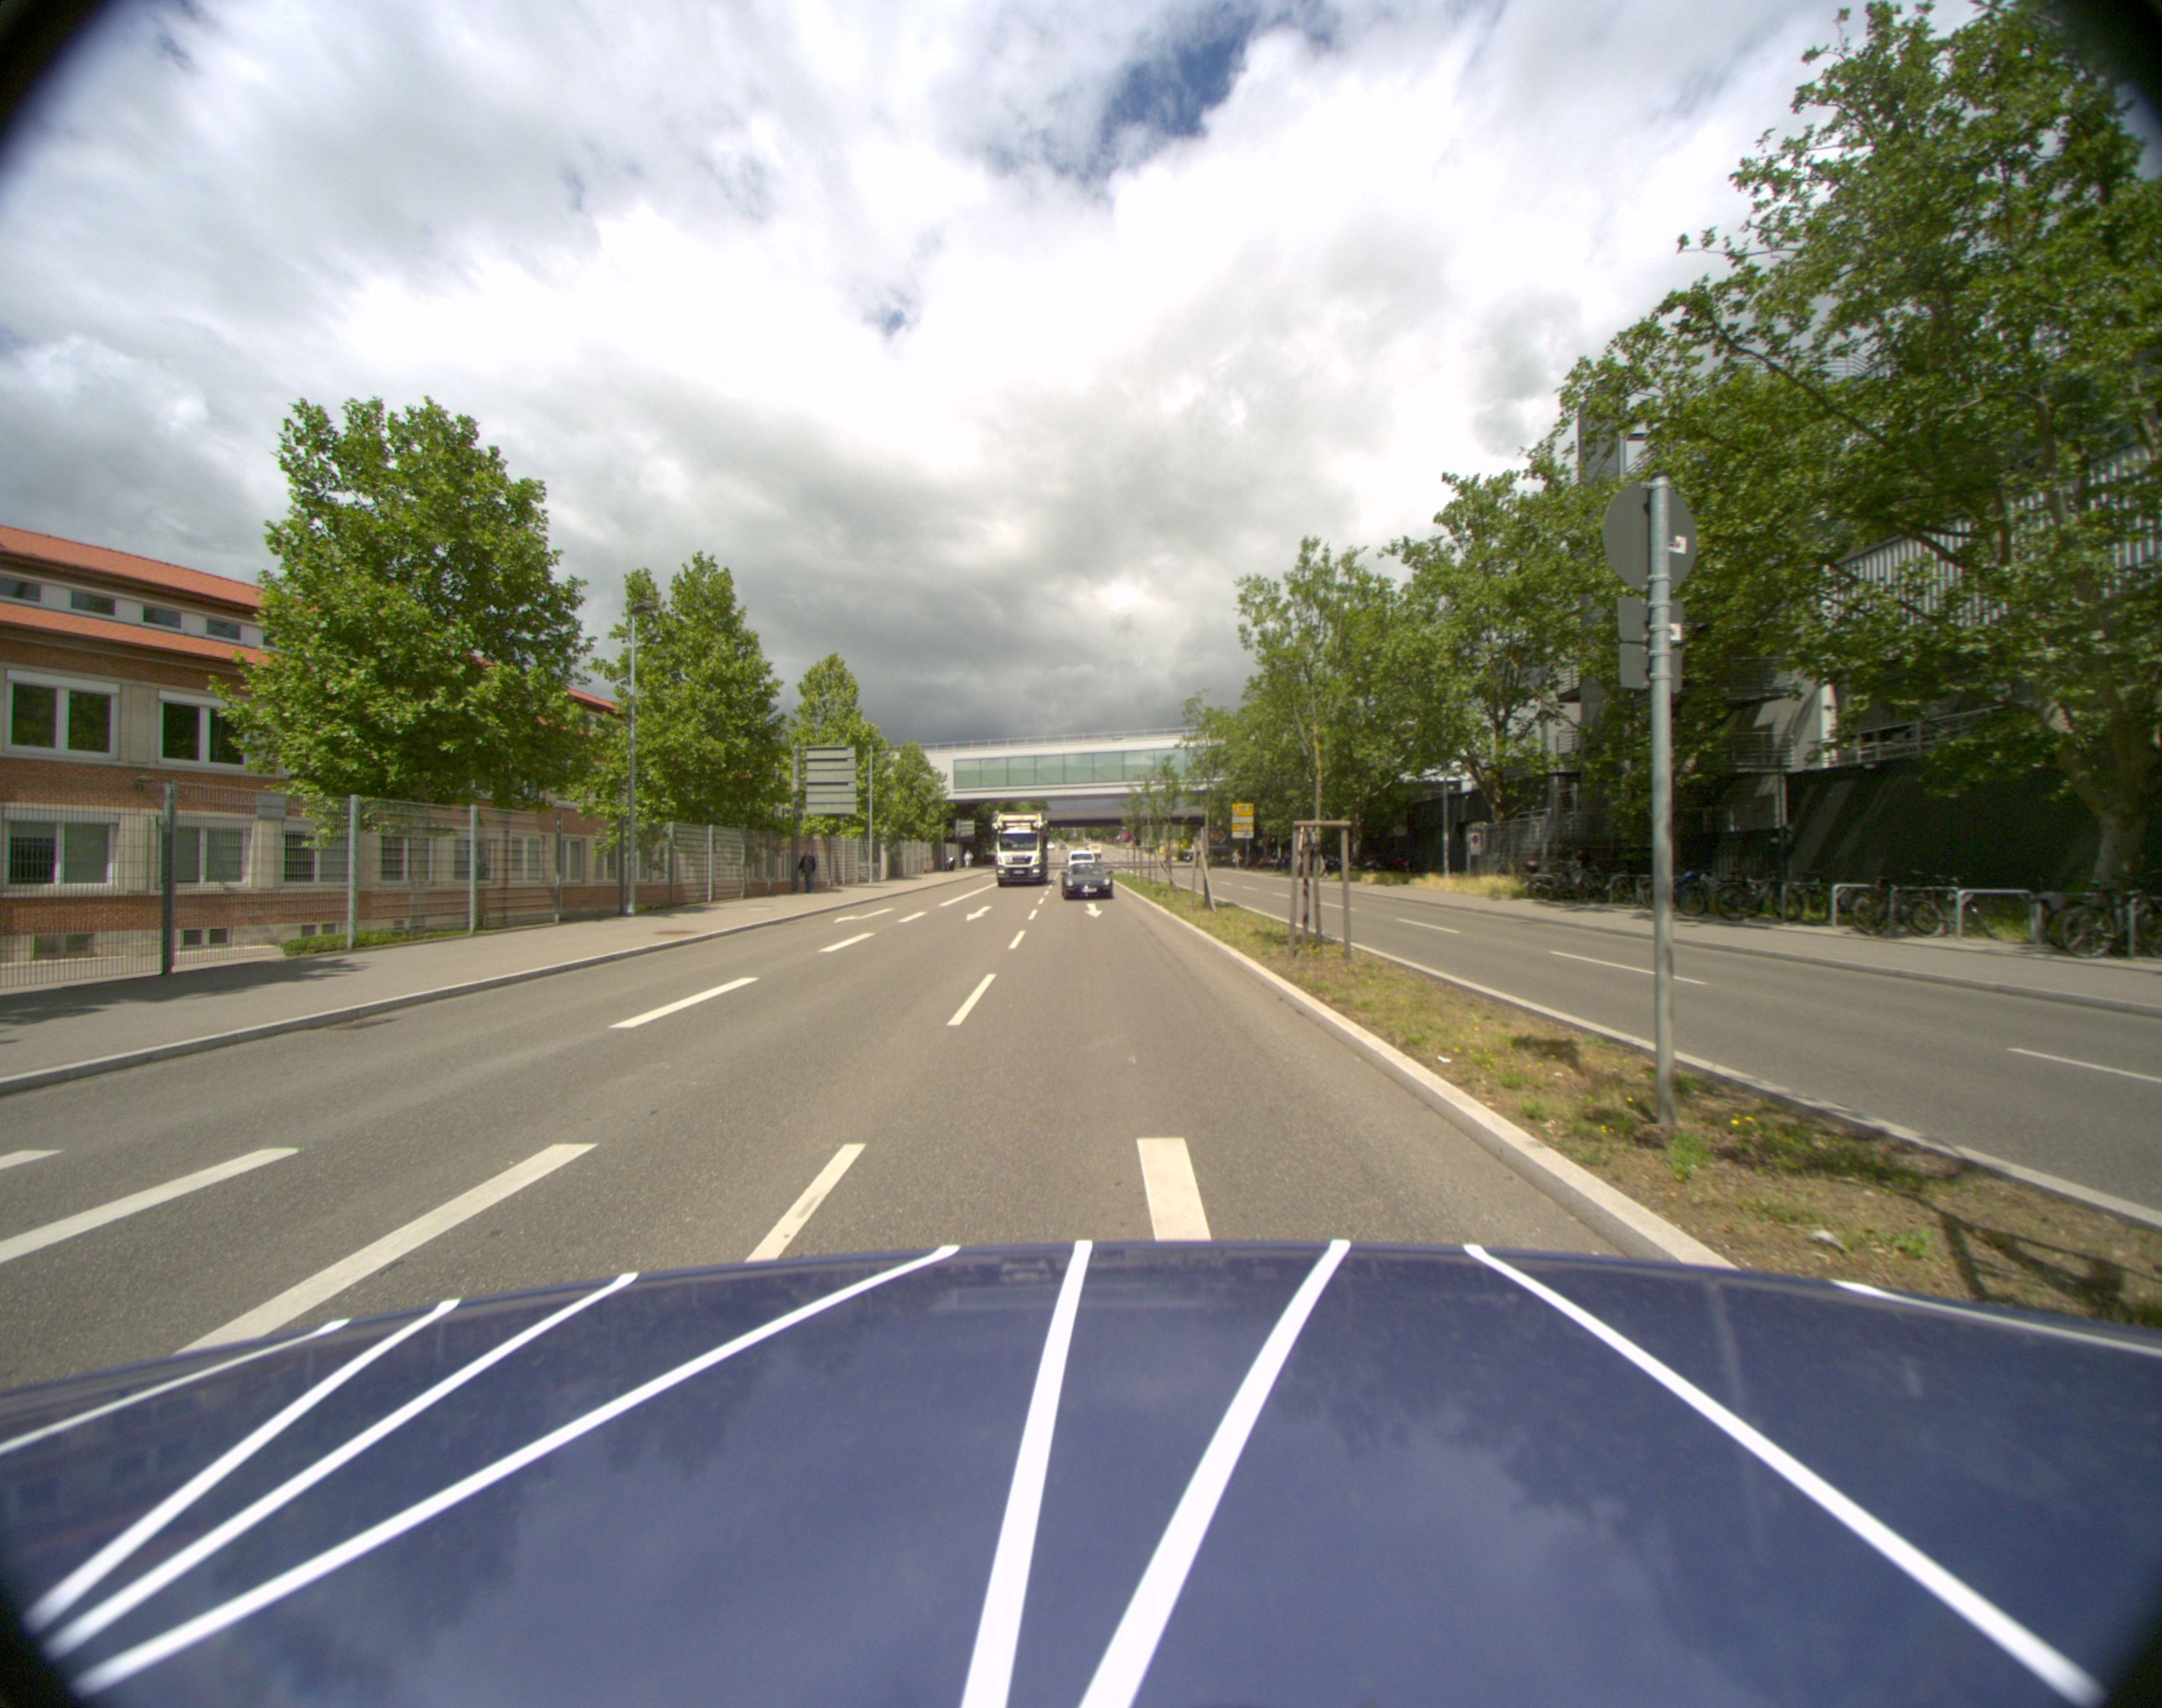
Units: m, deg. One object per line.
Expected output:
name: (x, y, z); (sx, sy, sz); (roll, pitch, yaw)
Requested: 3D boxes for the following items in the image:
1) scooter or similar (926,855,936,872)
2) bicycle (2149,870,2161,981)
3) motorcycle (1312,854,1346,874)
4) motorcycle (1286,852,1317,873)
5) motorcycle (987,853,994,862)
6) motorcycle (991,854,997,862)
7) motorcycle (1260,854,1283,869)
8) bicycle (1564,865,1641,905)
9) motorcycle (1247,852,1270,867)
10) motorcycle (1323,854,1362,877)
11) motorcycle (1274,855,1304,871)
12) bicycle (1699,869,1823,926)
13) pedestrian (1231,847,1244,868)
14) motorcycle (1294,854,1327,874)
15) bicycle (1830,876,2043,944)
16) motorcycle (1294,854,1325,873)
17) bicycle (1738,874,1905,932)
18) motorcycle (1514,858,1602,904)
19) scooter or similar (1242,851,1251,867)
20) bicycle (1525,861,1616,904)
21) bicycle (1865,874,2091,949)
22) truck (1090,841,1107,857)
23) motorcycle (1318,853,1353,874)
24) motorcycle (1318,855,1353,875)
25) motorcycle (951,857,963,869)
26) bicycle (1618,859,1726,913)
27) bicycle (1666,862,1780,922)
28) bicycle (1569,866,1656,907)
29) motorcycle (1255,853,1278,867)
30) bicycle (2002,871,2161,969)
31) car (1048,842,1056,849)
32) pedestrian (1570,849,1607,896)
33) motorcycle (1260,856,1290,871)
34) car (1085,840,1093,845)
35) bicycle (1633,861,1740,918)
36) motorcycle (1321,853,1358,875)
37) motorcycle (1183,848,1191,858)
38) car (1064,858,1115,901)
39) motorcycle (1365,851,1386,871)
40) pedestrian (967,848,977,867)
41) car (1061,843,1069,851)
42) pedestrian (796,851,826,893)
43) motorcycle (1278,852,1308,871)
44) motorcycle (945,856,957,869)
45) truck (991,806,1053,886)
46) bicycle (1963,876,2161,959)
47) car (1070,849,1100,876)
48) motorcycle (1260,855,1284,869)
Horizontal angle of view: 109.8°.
scooter or similar: (-12.189, 0.770, 61.785); (0.492, 1.287, 1.336); (0, 1, -1)
bicycle: (14.319, 0.852, 9.148); (2.172, 1.356, 0.490); (-1, 1, 2)
motorcycle: (15.656, 0.612, 47.918); (1.882, 1.172, 0.698); (-3, -1, 3)
motorcycle: (15.081, 0.567, 51.894); (1.934, 1.336, 0.866); (-3, -1, 20)
motorcycle: (-12.197, 0.483, 101.985); (0.679, 1.148, 2.112); (0, 1, 0)
motorcycle: (-12.086, 0.548, 105.902); (0.679, 1.076, 2.037); (0, 1, -2)
motorcycle: (15.257, 0.634, 60.999); (1.595, 1.116, 0.776); (-3, -1, 1)
bicycle: (14.748, 0.864, 21.495); (1.929, 1.068, 0.422); (-1, 1, -2)
motorcycle: (14.996, 0.495, 64.313); (1.745, 1.164, 0.777); (-3, -1, 8)
motorcycle: (14.603, 0.645, 42.477); (1.881, 1.166, 0.746); (-3, -1, 9)
motorcycle: (15.227, 0.661, 55.741); (1.933, 1.109, 0.923); (-3, -1, 27)
bicycle: (14.350, 0.898, 16.064); (1.923, 1.116, 0.806); (-1, 1, -2)
pedestrian: (12.383, 0.306, 60.078); (0.769, 1.603, 0.813); (-3, 1, -1)
motorcycle: (14.845, 0.662, 49.218); (1.881, 1.172, 0.815); (-3, -1, 9)
bicycle: (14.742, 0.950, 13.170); (2.569, 1.089, 0.696); (0, 1, 10)
motorcycle: (15.097, 0.611, 50.330); (1.880, 1.172, 0.816); (-3, -1, 15)
bicycle: (14.774, 0.962, 15.176); (2.844, 1.000, 0.850); (-1, 1, -9)
motorcycle: (14.264, 0.792, 22.772); (2.139, 1.301, 0.806); (-1, 1, -2)
scooter or similar: (13.198, 0.426, 60.549); (0.355, 1.229, 1.479); (-2, 2, -1)
bicycle: (14.304, 0.816, 22.236); (2.139, 1.173, 0.806); (-1, 1, -2)
bicycle: (14.579, 0.932, 12.410); (2.569, 1.151, 0.644); (-1, 1, 10)
truck: (3.089, -0.834, 134.722); (2.486, 2.735, 6.456); (-1, 0, -3)
motorcycle: (15.664, 0.581, 46.713); (1.882, 1.202, 0.655); (-3, -1, 3)
motorcycle: (15.280, 0.643, 45.638); (1.880, 1.078, 0.795); (-3, -1, 15)
motorcycle: (-11.762, 0.817, 72.114); (0.709, 1.058, 2.510); (2, 1, -1)
bicycle: (14.908, 0.786, 19.202); (2.139, 1.275, 0.806); (-1, 1, -2)
bicycle: (14.380, 0.836, 17.052); (1.923, 1.275, 0.806); (-1, 1, -2)
bicycle: (14.696, 0.900, 21.026); (2.086, 1.056, 0.497); (-1, 1, -2)
motorcycle: (15.220, 0.501, 62.332); (1.596, 1.116, 0.775); (-3, -1, -9)
bicycle: (14.219, 0.889, 10.436); (2.410, 1.250, 0.556); (-1, 1, 2)
car: (-8.150, -2.337, 215.122); (1.999, 2.002, 3.999); (-1, 0, -1)
pedestrian: (17.050, 0.608, 25.543); (0.755, 1.543, 0.821); (-1, 1, 10)
motorcycle: (14.685, 0.702, 57.464); (1.939, 1.109, 0.920); (1, 1, -12)
car: (2.247, -3.213, 207.121); (1.998, 1.346, 4.000); (0, 1, 1)
bicycle: (14.346, 0.822, 18.036); (1.923, 1.275, 0.806); (-1, 1, -2)
motorcycle: (15.095, 0.583, 44.389); (1.881, 1.179, 0.730); (-3, 0, 8)
motorcycle: (12.806, -0.110, 91.758); (0.641, 1.191, 2.257); (-3, 1, -1)
car: (0.255, 0.857, 27.706); (1.675, 1.390, 3.999); (-1, 0, -1)
motorcycle: (18.710, 0.460, 48.259); (0.654, 1.202, 1.984); (-3, -1, 4)
pedestrian: (-10.791, 0.329, 75.124); (0.791, 1.877, 1.097); (0, 1, -1)
car: (-4.601, -2.029, 218.062); (1.999, 2.002, 3.999); (-1, 0, -1)
pedestrian: (-11.333, 0.740, 31.929); (0.879, 1.733, 0.940); (1, 1, -1)
motorcycle: (15.153, 0.555, 54.219); (1.934, 1.283, 0.894); (-3, -1, 20)
motorcycle: (-11.817, 0.763, 68.983); (0.670, 1.058, 2.246); (2, 1, -1)
truck: (-3.176, -0.405, 43.327); (2.787, 3.981, 10.085); (-1, 0, -1)
bicycle: (14.995, 0.937, 11.296); (2.569, 1.151, 0.726); (-1, 1, 10)
car: (0.228, 0.562, 51.084); (1.929, 1.728, 3.999); (-1, 0, -1)
motorcycle: (14.979, 0.642, 59.626); (1.595, 1.027, 0.776); (-3, -1, 1)
